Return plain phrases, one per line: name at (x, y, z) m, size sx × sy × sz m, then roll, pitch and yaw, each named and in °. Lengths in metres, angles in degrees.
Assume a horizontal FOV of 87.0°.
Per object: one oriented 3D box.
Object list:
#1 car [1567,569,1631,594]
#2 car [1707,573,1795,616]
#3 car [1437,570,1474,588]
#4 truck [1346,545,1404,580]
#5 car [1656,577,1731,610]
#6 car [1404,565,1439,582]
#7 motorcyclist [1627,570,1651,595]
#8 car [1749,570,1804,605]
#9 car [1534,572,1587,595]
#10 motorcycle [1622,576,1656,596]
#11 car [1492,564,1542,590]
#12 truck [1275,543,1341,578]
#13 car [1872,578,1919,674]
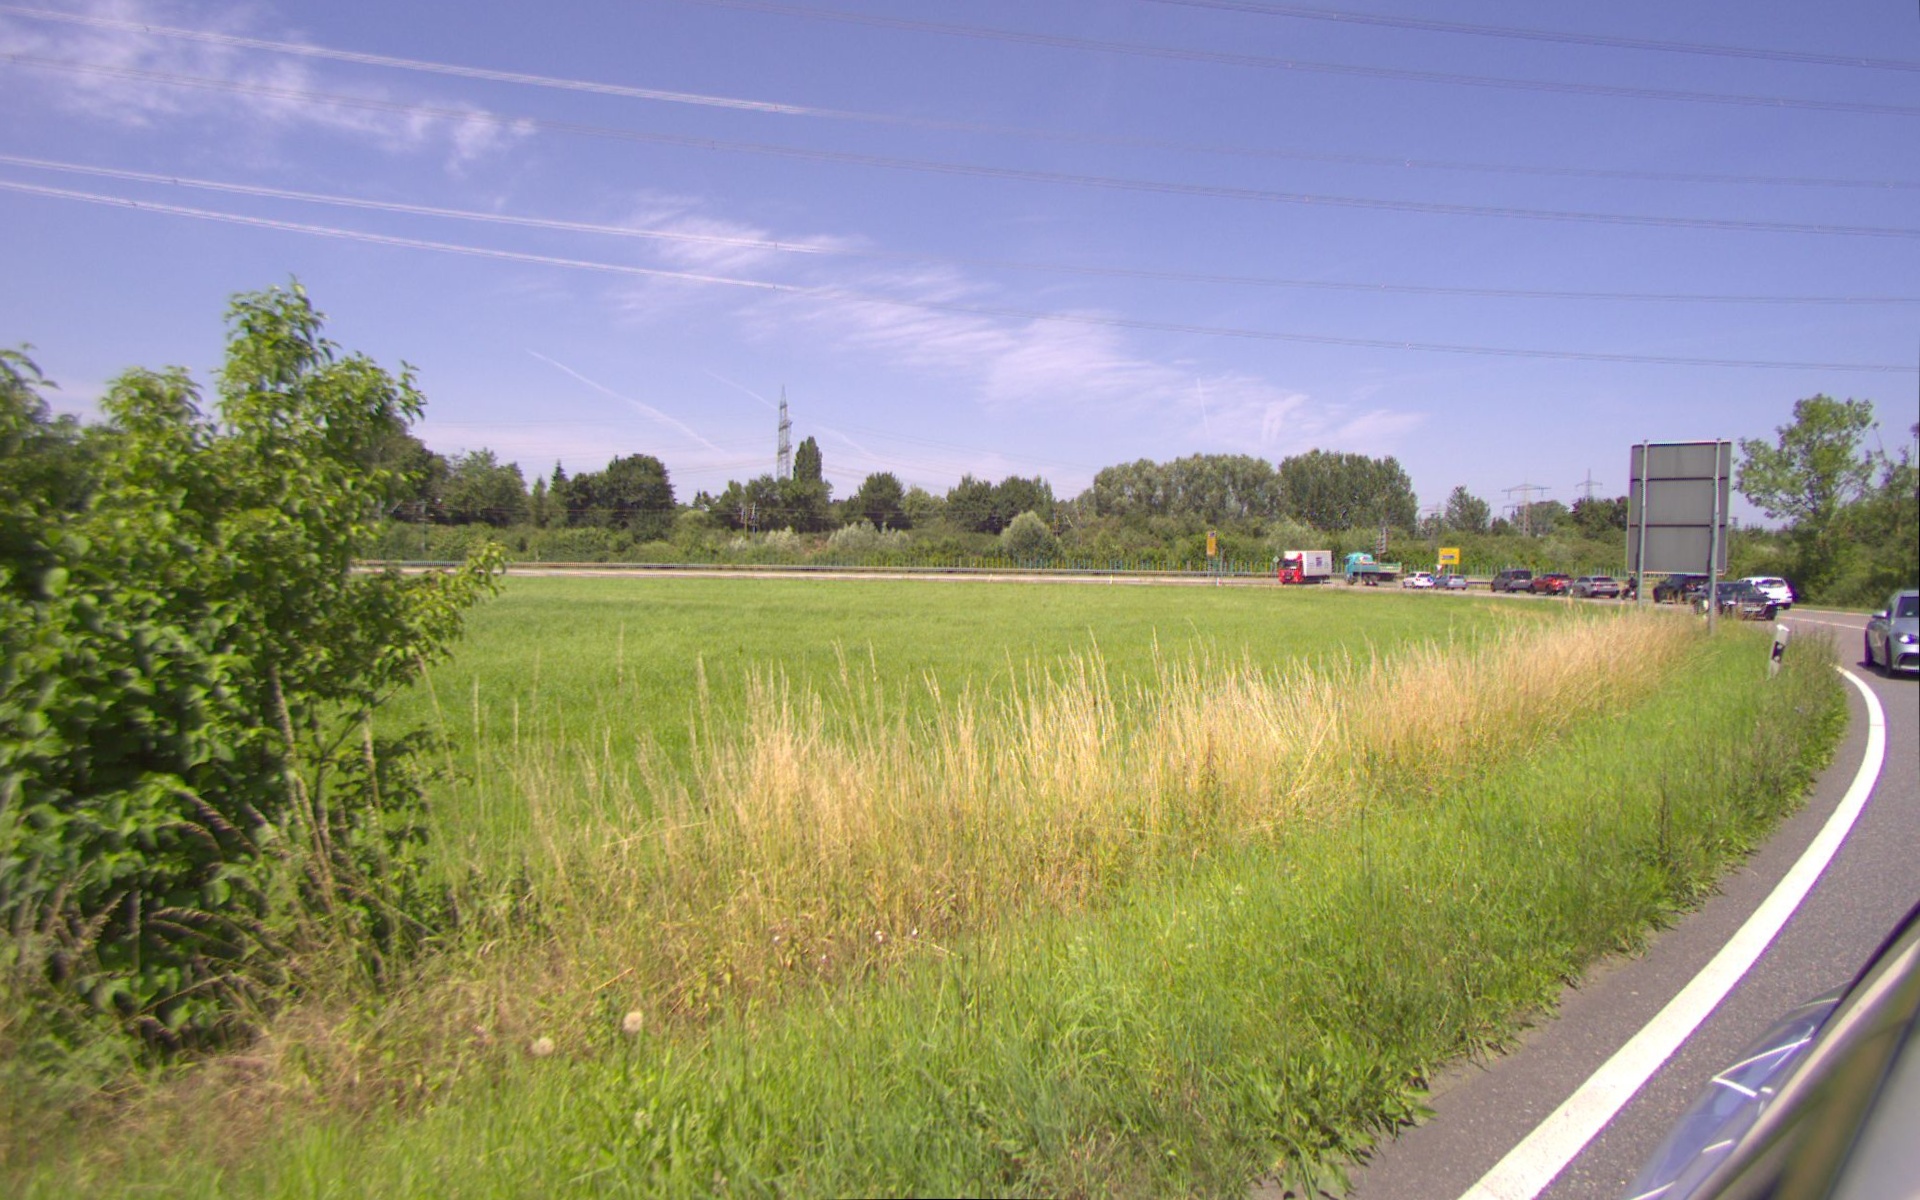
car at (42.002, -1.259, 66.637) m, size 1.817 × 1.478 × 4.798 m, roll 0°, pitch 3°, yaw 10°
car at (29.818, -0.259, 38.283) m, size 1.808 × 1.457 × 4.111 m, roll 2°, pitch 2°, yaw 27°
car at (44.286, -1.891, 90.471) m, size 1.608 × 1.477 × 4.004 m, roll 1°, pitch 2°, yaw 5°
truck at (43.453, -3.893, 106.269) m, size 2.559 × 3.514 × 7.616 m, roll 1°, pitch 2°, yaw -3°
car at (39.491, -0.399, 54.579) m, size 1.681 × 1.658 × 4.235 m, roll -1°, pitch 2°, yaw 12°
car at (44.366, -2.558, 97.372) m, size 1.746 × 1.640 × 4.326 m, roll -1°, pitch 2°, yaw 5°
motorcyclist at (41.372, -1.087, 61.655) m, size 0.770 × 1.513 × 1.128 m, roll 0°, pitch 2°, yaw 10°
car at (37.778, -0.589, 46.891) m, size 1.529 × 1.460 × 3.568 m, roll -1°, pitch 2°, yaw 32°
car at (43.173, -1.224, 72.873) m, size 1.775 × 1.534 × 4.382 m, roll 1°, pitch 3°, yaw 10°
motorcycle at (41.386, -0.883, 61.684) m, size 0.771 × 1.137 × 2.424 m, roll -1°, pitch 2°, yaw 9°
car at (43.859, -1.849, 79.833) m, size 1.900 × 1.854 × 4.432 m, roll -3°, pitch 2°, yaw 8°
truck at (38.466, -4.387, 111.666) m, size 9.397 × 3.623 × 2.720 m, roll -3°, pitch 3°, yaw -43°
car at (16.821, 0.388, 17.041) m, size 1.815 × 1.505 × 4.093 m, roll 1°, pitch 1°, yaw 37°
